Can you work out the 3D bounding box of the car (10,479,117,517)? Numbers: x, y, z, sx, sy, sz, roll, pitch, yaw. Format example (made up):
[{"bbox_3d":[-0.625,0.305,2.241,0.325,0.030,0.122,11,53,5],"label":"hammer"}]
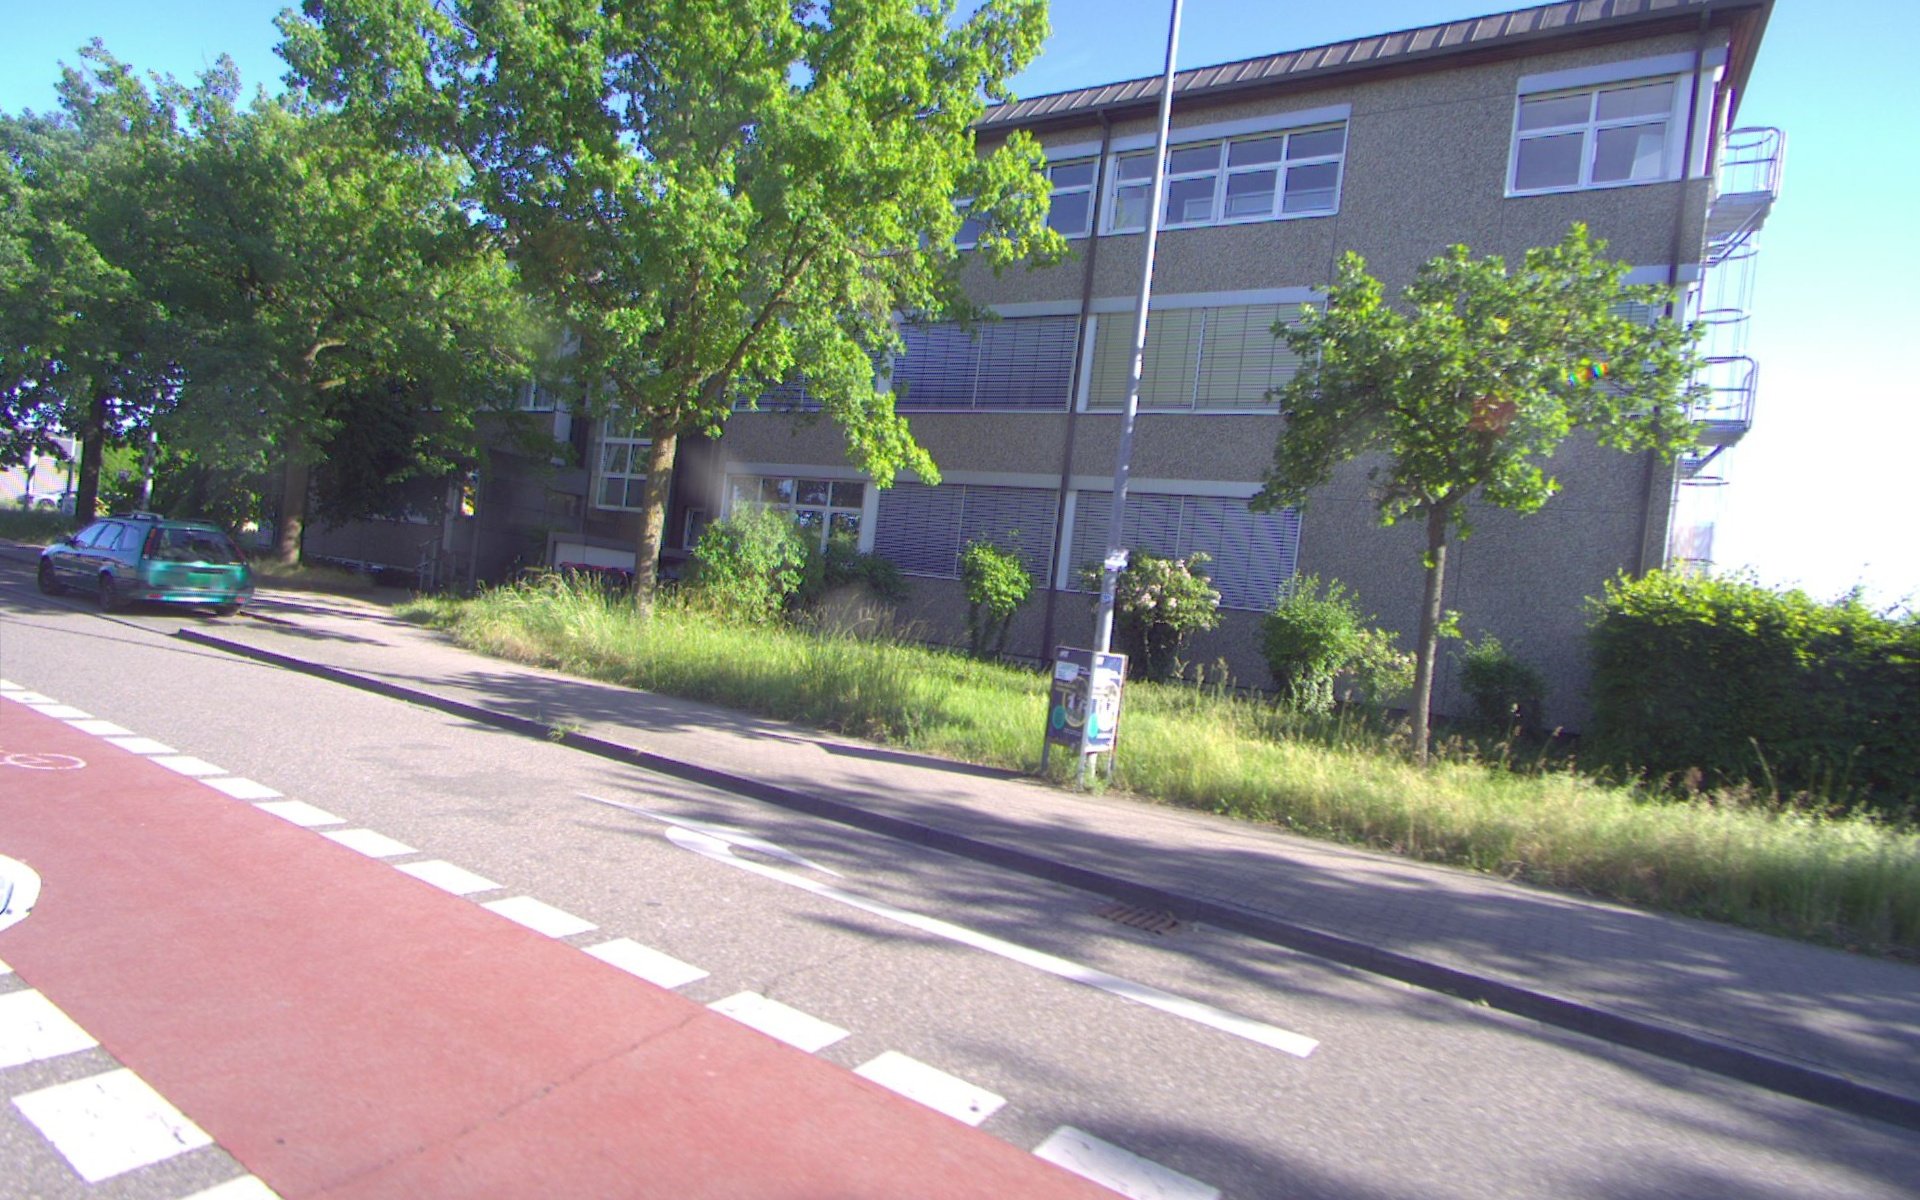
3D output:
[{"bbox_3d":[-50.569,-5.749,56.839,1.547,1.317,4.172,6,-3,28],"label":"car"}]

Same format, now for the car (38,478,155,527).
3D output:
[{"bbox_3d":[-34.705,-3.894,40.524,1.433,1.310,3.412,7,-2,6],"label":"car"}]

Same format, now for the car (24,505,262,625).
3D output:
[{"bbox_3d":[-12.937,-0.578,15.866,4.134,1.447,1.594,6,1,32],"label":"car"}]

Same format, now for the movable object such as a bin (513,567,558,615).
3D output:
[{"bbox_3d":[-10.364,-0.215,24.574,0.571,1.045,0.713,7,0,31],"label":"movable object such as a bin"}]

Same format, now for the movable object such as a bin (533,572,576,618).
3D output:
[{"bbox_3d":[-9.775,-0.118,24.267,0.566,1.019,0.629,6,-2,30],"label":"movable object such as a bin"}]

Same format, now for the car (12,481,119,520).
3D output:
[{"bbox_3d":[-53.273,-5.908,60.014,1.547,1.476,4.426,6,-2,28],"label":"car"}]
